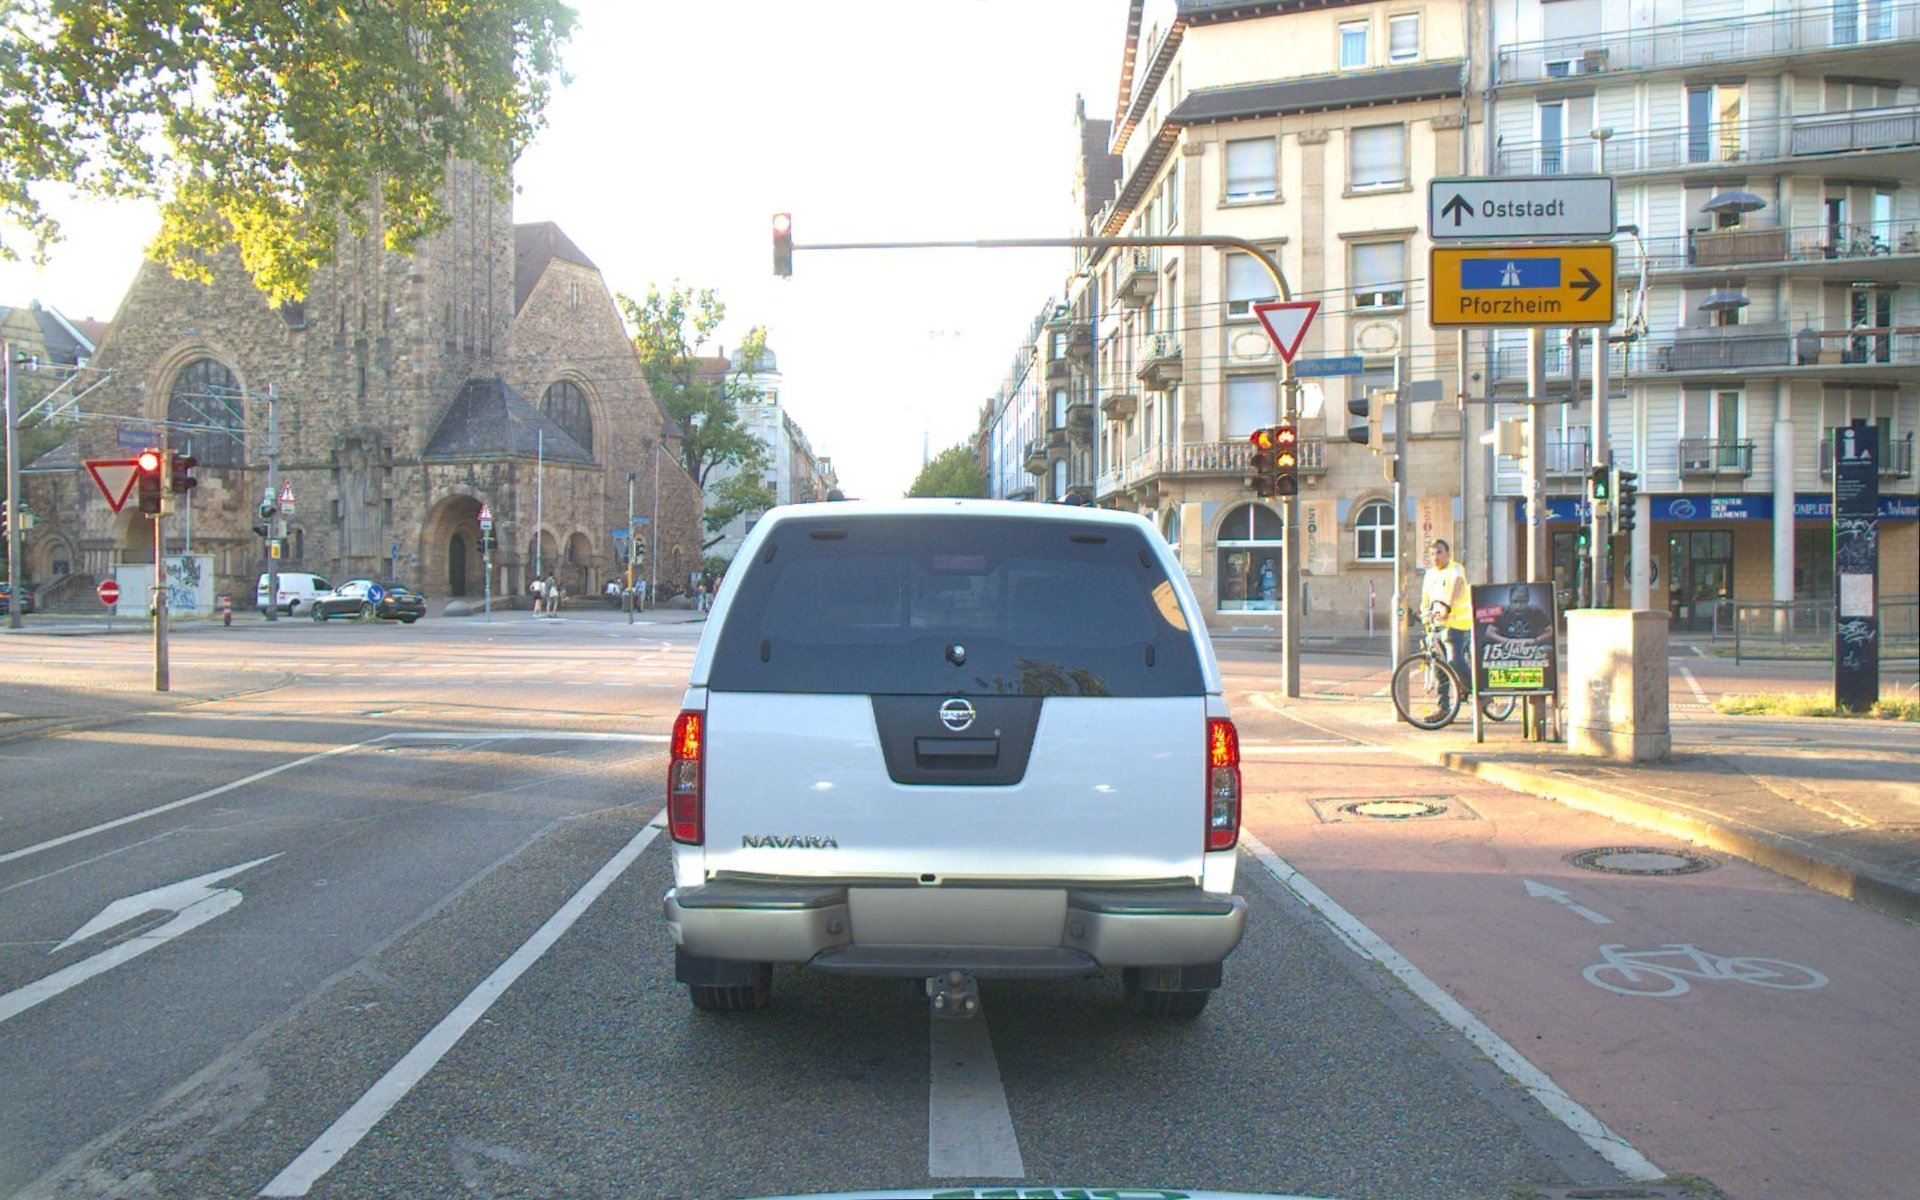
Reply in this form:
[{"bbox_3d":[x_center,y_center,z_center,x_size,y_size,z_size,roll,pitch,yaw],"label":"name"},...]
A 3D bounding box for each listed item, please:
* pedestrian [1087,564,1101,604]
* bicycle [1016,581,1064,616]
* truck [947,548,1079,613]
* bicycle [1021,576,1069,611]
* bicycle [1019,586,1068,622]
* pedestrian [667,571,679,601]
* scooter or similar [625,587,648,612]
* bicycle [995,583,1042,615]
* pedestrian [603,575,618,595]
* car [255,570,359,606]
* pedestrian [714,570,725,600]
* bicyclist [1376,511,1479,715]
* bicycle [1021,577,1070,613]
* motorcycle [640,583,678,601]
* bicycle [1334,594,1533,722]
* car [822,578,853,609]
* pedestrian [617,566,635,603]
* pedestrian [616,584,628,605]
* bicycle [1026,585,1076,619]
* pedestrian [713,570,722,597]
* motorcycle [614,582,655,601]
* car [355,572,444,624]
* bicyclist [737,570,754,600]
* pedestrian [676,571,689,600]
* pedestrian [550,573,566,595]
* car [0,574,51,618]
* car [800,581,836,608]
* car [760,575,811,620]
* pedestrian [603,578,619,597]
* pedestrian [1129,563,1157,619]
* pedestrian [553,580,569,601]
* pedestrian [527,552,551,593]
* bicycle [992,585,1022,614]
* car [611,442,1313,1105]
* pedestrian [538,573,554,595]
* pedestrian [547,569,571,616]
[{"bbox_3d":[5.644,-0.666,69.640,0.517,1.683,0.547,1,0,-1],"label":"pedestrian"},{"bbox_3d":[3.186,-0.064,65.752,1.818,1.259,0.530,-3,0,-3],"label":"bicycle"},{"bbox_3d":[2.242,-0.805,68.780,5.631,2.609,2.250,0,1,-45],"label":"truck"},{"bbox_3d":[3.307,-0.238,64.617,1.781,1.259,0.412,-3,0,-3],"label":"bicycle"},{"bbox_3d":[3.238,0.146,63.890,1.781,1.259,0.477,-3,0,-3],"label":"bicycle"},{"bbox_3d":[-16.891,-0.831,97.333,0.631,1.725,0.560,1,0,-10],"label":"pedestrian"},{"bbox_3d":[-15.036,-0.037,76.925,0.620,1.122,1.079,1,2,15],"label":"scooter or similar"},{"bbox_3d":[2.227,-0.042,62.688,1.692,1.102,0.317,-3,0,-3],"label":"bicycle"},{"bbox_3d":[-16.927,-0.721,80.105,0.510,0.977,0.479,1,0,16],"label":"pedestrian"},{"bbox_3d":[-29.191,-0.509,74.071,1.679,1.543,4.454,1,0,23],"label":"car"},{"bbox_3d":[-15.363,-0.965,105.553,0.632,1.888,0.559,1,0,-15],"label":"pedestrian"},{"bbox_3d":[4.377,0.121,15.488,0.690,1.856,0.621,1,0,-33],"label":"bicyclist"},{"bbox_3d":[3.268,-0.203,63.180,1.781,1.259,0.488,-3,0,-3],"label":"bicycle"},{"bbox_3d":[-17.401,-0.481,95.705,2.119,1.005,0.594,1,0,19],"label":"motorcycle"},{"bbox_3d":[4.473,0.525,15.549,2.046,1.129,0.621,1,0,-34],"label":"bicycle"},{"bbox_3d":[-8.569,-0.509,115.805,1.953,2.048,4.949,-1,1,-2],"label":"car"},{"bbox_3d":[-15.648,-0.738,77.450,0.620,1.728,0.603,1,1,15],"label":"pedestrian"},{"bbox_3d":[-16.389,-0.274,80.143,0.513,0.977,0.477,1,0,-17],"label":"pedestrian"},{"bbox_3d":[3.416,0.084,62.242,1.781,1.170,0.636,-3,0,-3],"label":"bicycle"},{"bbox_3d":[-15.620,-1.057,106.388,0.549,1.725,0.643,1,0,-9],"label":"pedestrian"},{"bbox_3d":[-18.370,-0.486,93.402,2.201,1.005,0.707,1,0,-7],"label":"motorcycle"},{"bbox_3d":[-19.555,-0.046,57.606,1.975,1.646,3.955,4,-3,-32],"label":"car"},{"bbox_3d":[-12.219,-0.862,94.211,0.593,1.673,0.953,1,0,-30],"label":"bicyclist"},{"bbox_3d":[-16.694,-0.879,99.529,0.630,1.725,0.562,1,0,-2],"label":"pedestrian"},{"bbox_3d":[-18.083,-0.714,74.378,0.511,0.977,0.479,1,0,18],"label":"pedestrian"},{"bbox_3d":[-37.988,-0.179,65.399,3.917,1.713,1.994,1,0,33],"label":"car"},{"bbox_3d":[-8.727,-0.352,102.073,1.953,1.585,4.766,1,0,-2],"label":"car"},{"bbox_3d":[-7.767,-0.138,74.085,1.953,1.815,4.796,0,2,-3],"label":"car"},{"bbox_3d":[-18.592,-0.675,88.128,0.540,0.977,0.710,1,0,20],"label":"pedestrian"},{"bbox_3d":[5.964,-0.290,53.959,0.771,1.810,0.543,1,0,24],"label":"pedestrian"},{"bbox_3d":[-18.227,-0.441,75.547,0.469,0.977,0.522,1,0,29],"label":"pedestrian"},{"bbox_3d":[-17.403,-1.137,68.382,0.796,1.699,0.859,1,0,-3],"label":"pedestrian"},{"bbox_3d":[1.798,-0.006,63.564,1.055,1.042,0.317,-3,0,-3],"label":"bicycle"},{"bbox_3d":[-0.017,0.485,6.669,1.953,1.841,3.999,1,0,-1],"label":"car"},{"bbox_3d":[-18.698,-0.724,74.643,0.511,0.977,0.479,1,0,18],"label":"pedestrian"},{"bbox_3d":[-16.566,-0.318,68.325,0.796,1.934,0.666,1,0,-3],"label":"pedestrian"}]
